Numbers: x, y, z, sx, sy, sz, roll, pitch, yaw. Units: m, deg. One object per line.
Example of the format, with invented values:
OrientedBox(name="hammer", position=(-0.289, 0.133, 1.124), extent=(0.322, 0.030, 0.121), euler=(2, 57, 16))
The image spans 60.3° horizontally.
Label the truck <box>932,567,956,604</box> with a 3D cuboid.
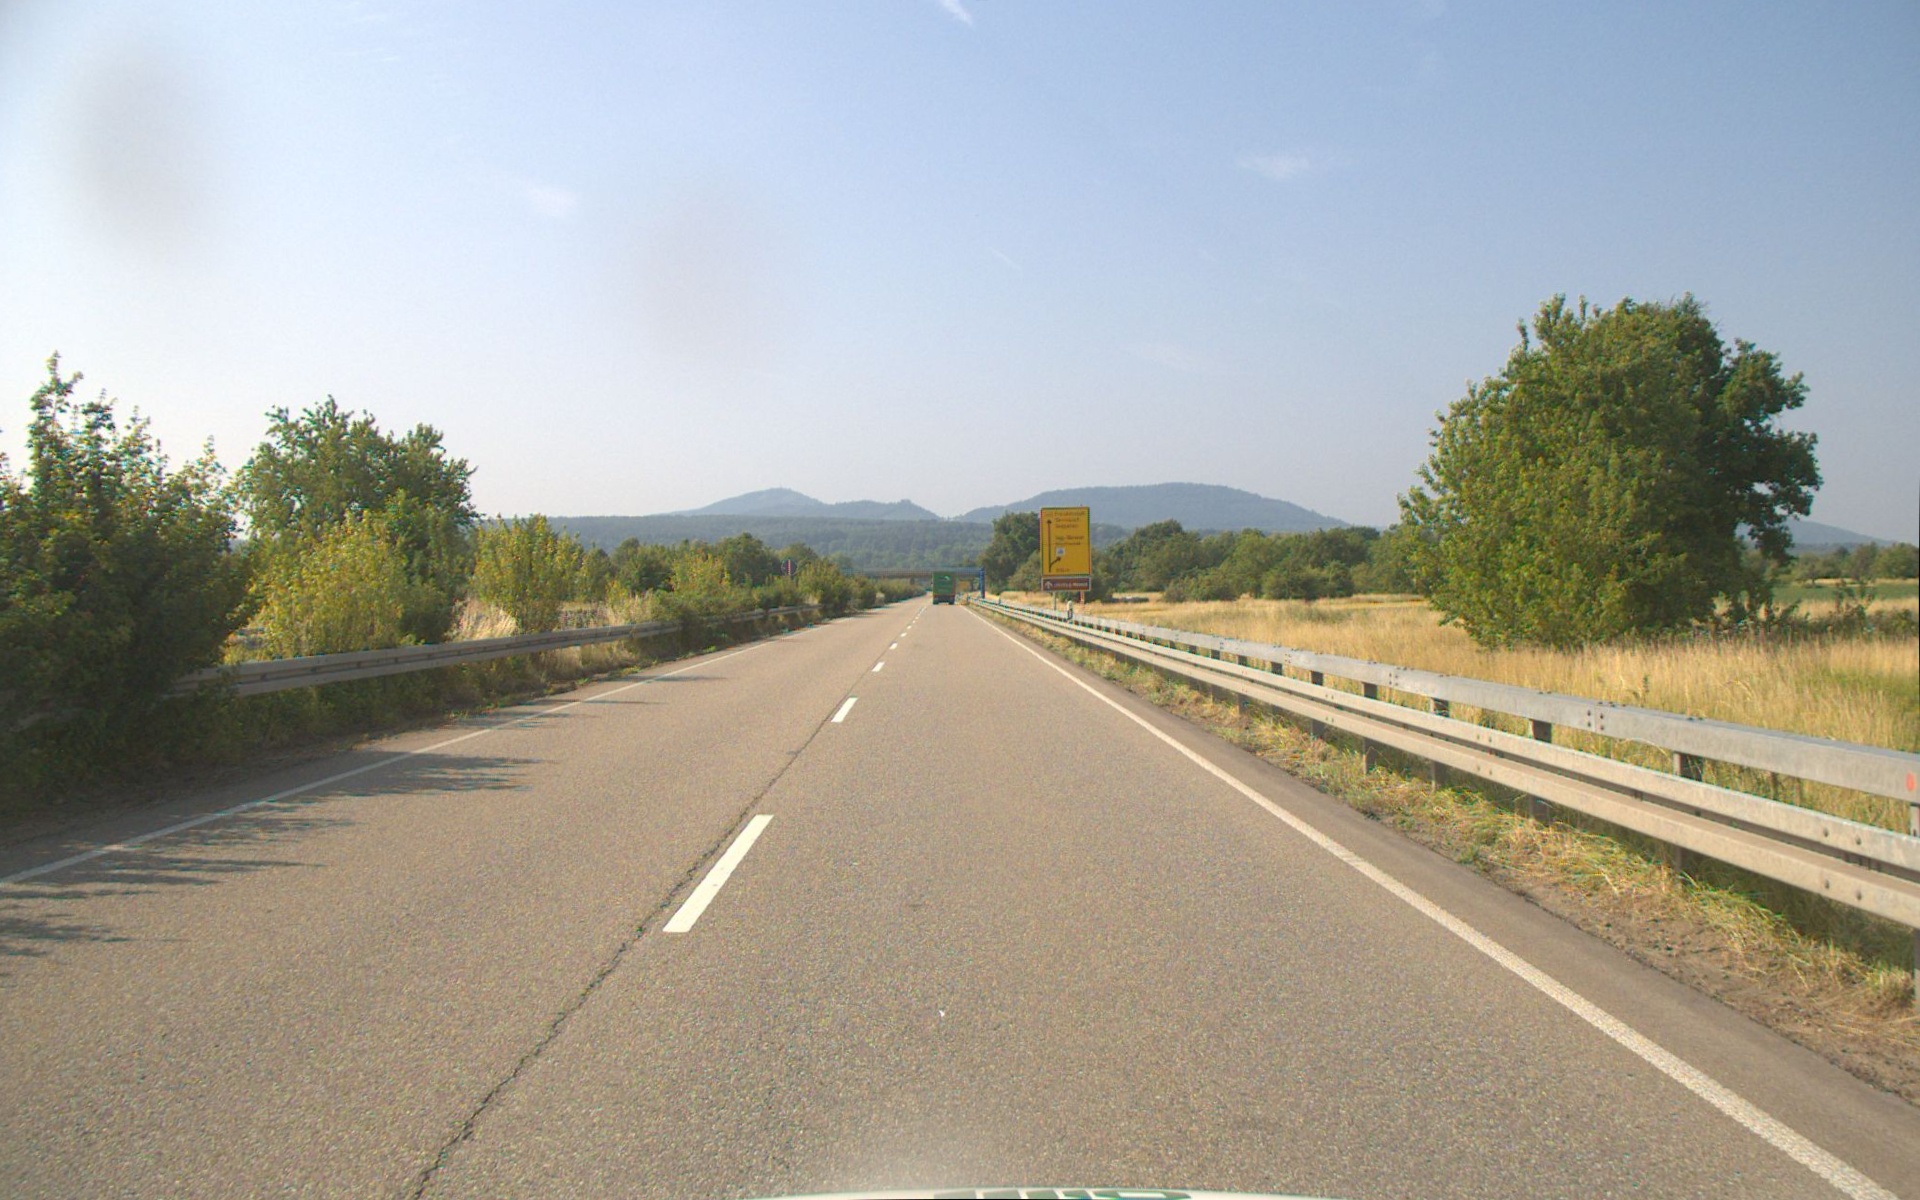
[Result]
OrientedBox(name="truck", position=(-1.826, -1.758, 189.319), extent=(2.666, 4.034, 10.416), euler=(1, 1, 0))
